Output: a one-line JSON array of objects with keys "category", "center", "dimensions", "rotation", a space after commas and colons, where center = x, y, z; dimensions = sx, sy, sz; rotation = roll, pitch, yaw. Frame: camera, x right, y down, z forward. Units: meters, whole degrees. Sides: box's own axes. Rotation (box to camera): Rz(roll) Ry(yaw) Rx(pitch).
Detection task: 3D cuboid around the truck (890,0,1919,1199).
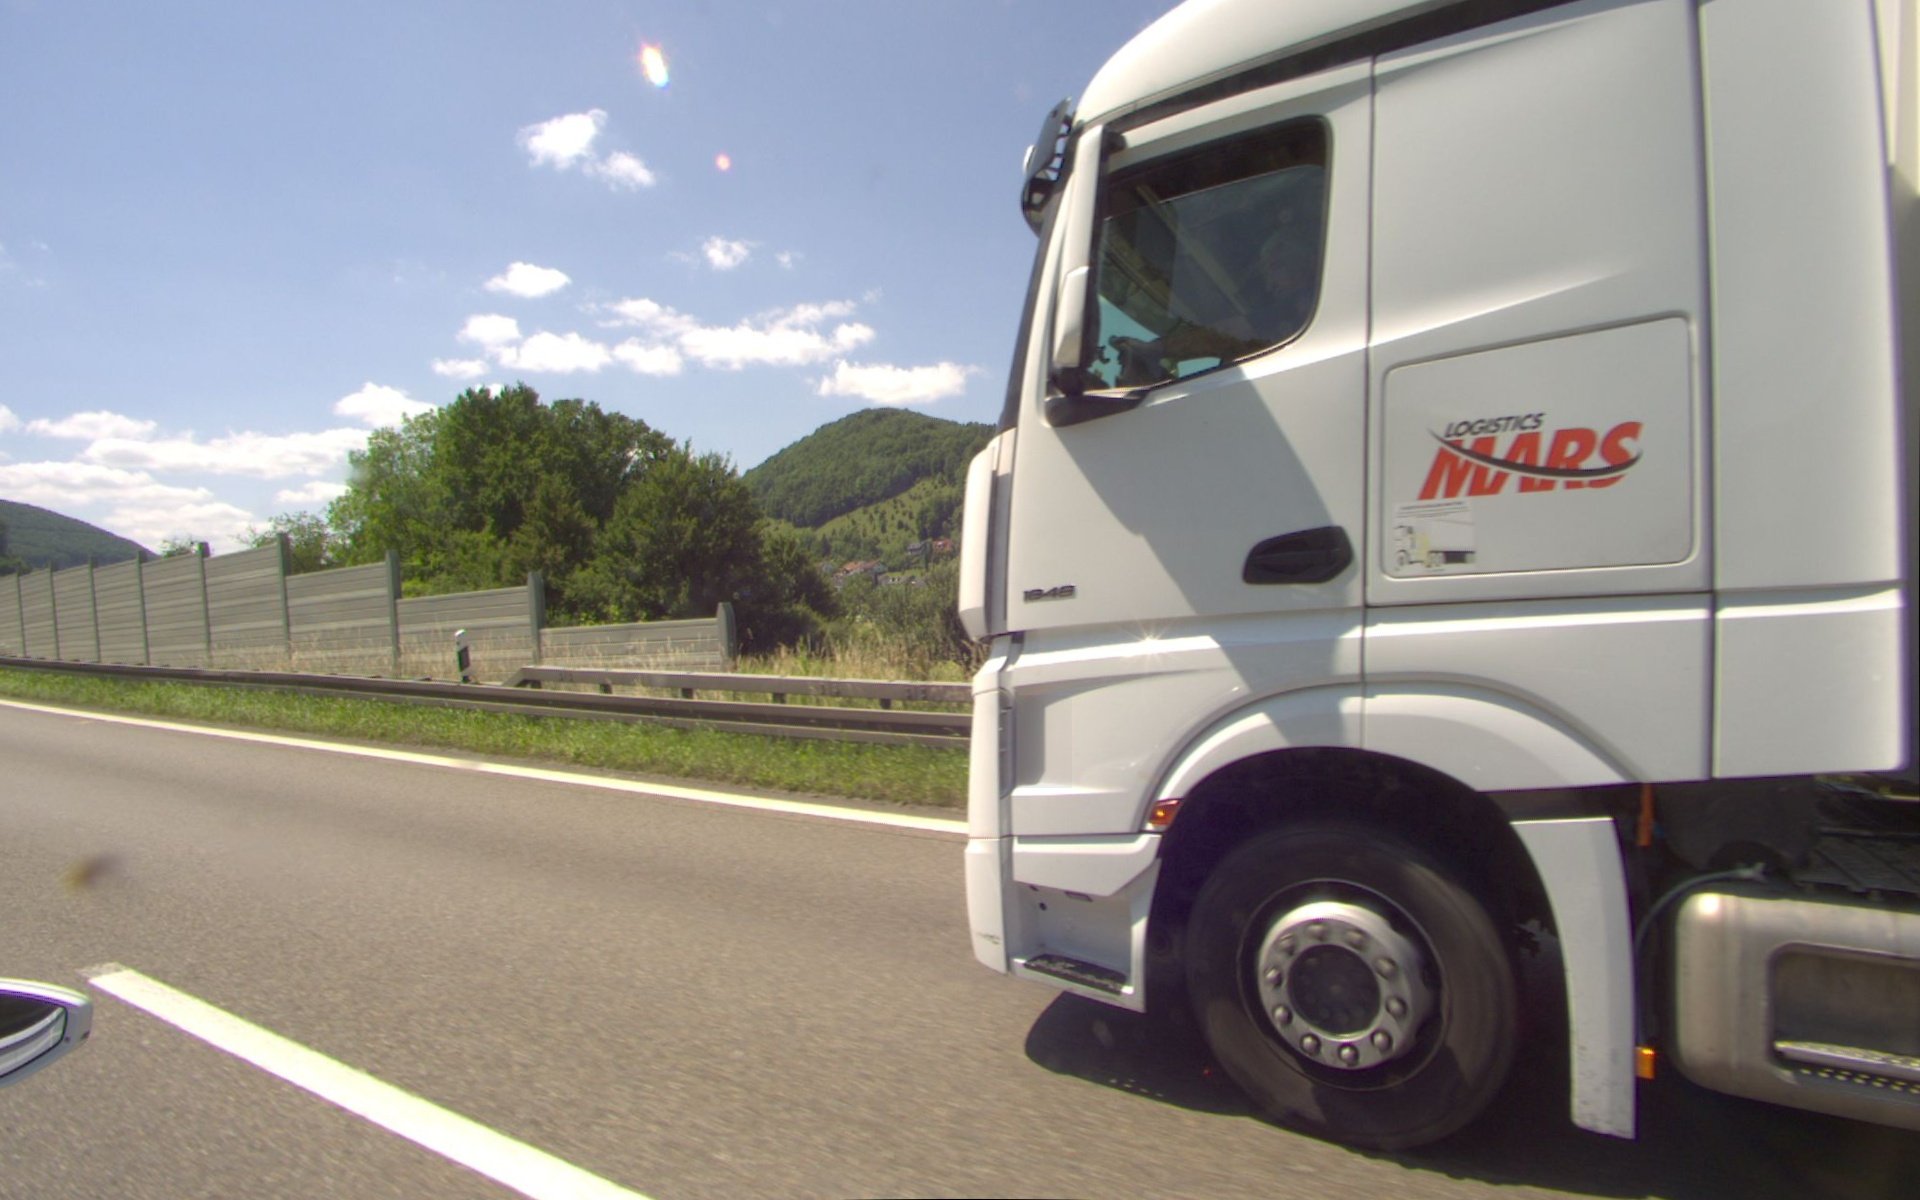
[{"category": "truck", "center": [2.898, -0.559, 3.097], "dimensions": [5.667, 4.120, 2.717], "rotation": [-1, -1, 29]}]
